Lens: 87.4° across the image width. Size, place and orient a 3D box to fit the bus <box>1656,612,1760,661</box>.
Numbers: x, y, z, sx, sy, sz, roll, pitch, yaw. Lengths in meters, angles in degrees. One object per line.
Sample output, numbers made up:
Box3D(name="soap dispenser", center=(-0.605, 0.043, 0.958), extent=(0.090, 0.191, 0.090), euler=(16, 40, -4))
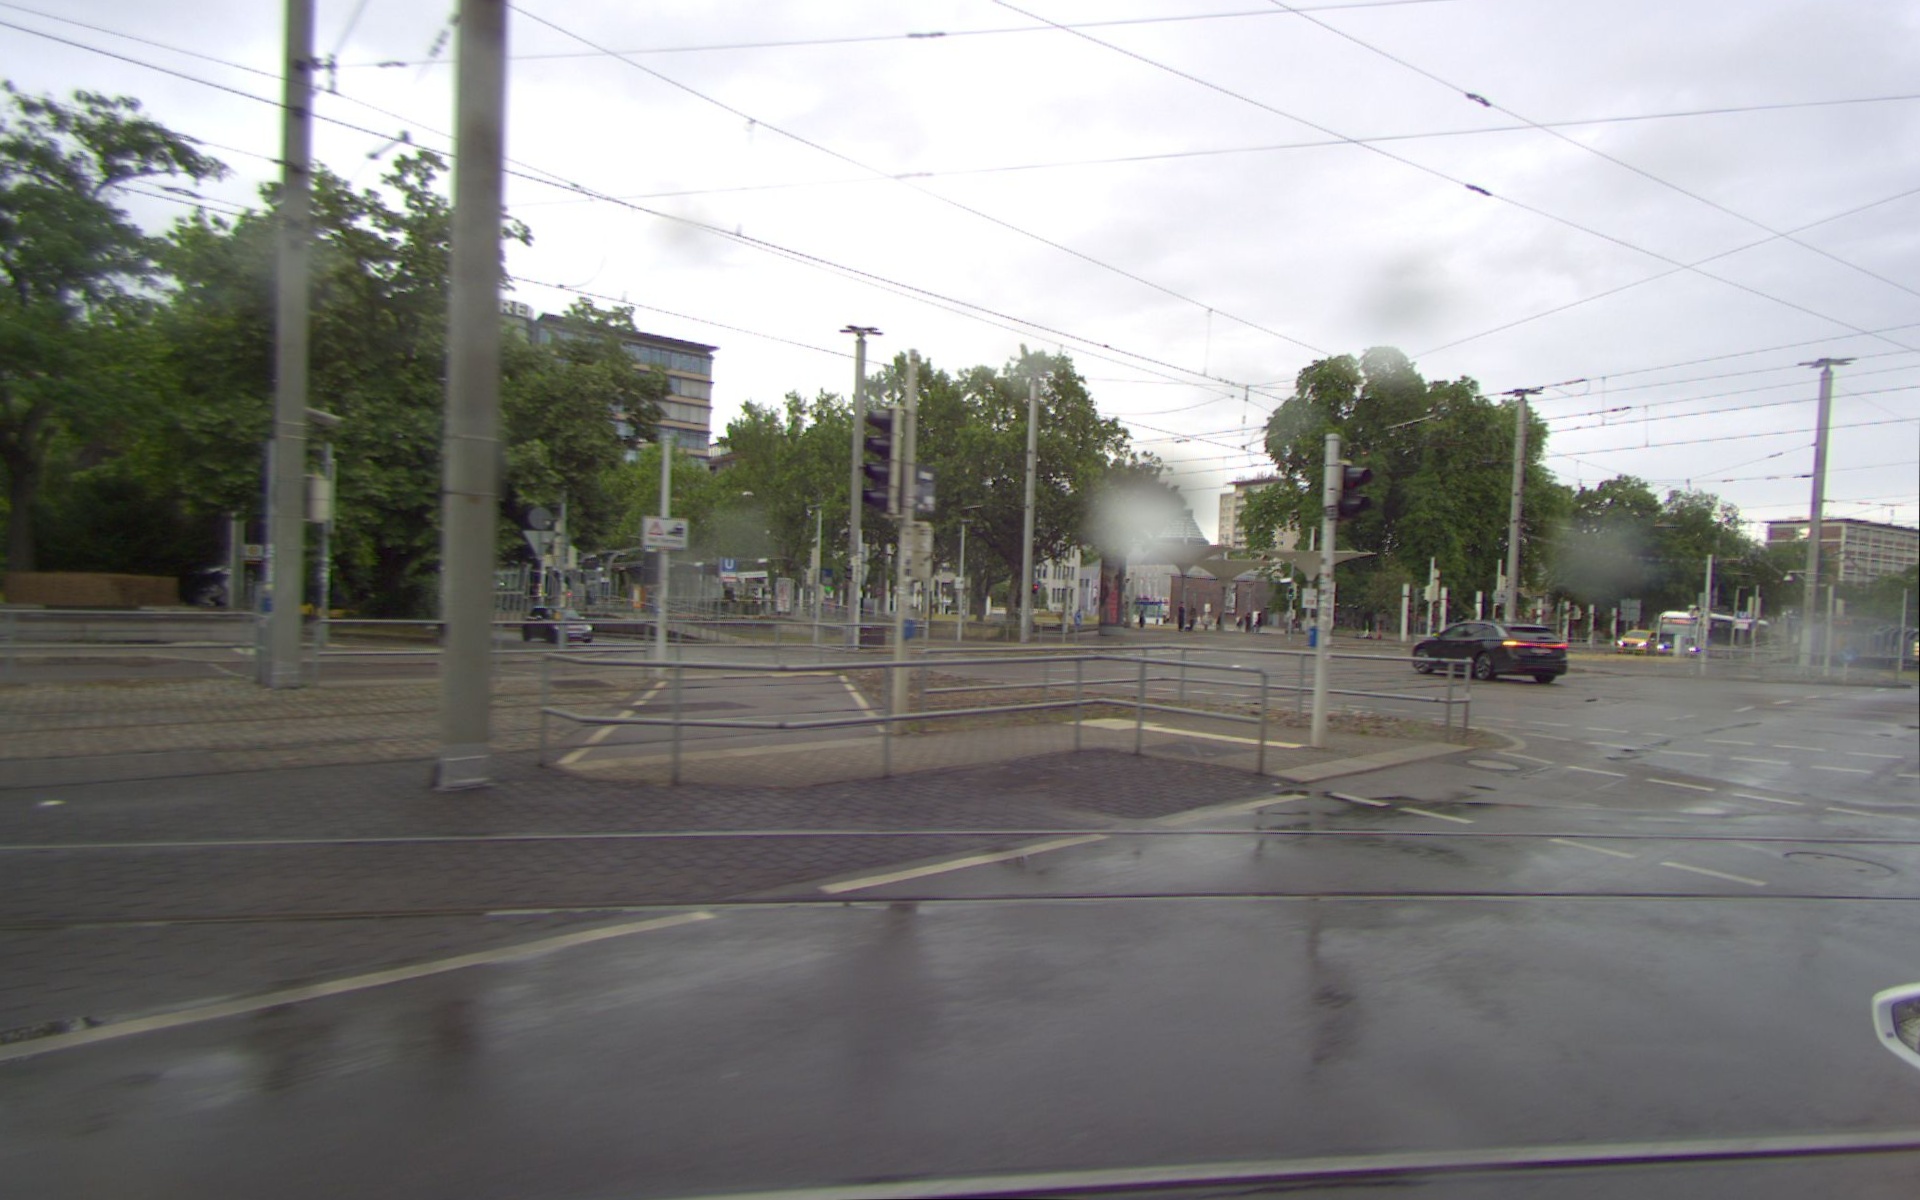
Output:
Box3D(name="bus", center=(55.819, 2.720, 74.760), extent=(12.411, 3.344, 3.054), euler=(2, -1, -38))

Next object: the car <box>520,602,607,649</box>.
Box3D(name="car", center=(-15.607, 0.989, 39.435), extent=(1.985, 1.728, 3.952), euler=(2, -1, -41))

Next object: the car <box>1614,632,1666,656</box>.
Box3D(name="car", center=(50.219, 3.241, 74.102), extent=(4.498, 1.667, 1.977), euler=(2, -1, -39))

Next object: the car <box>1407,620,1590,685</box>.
Box3D(name="car", center=(14.102, 1.320, 26.709), extent=(2.065, 1.526, 4.729), euler=(2, -1, -4))
